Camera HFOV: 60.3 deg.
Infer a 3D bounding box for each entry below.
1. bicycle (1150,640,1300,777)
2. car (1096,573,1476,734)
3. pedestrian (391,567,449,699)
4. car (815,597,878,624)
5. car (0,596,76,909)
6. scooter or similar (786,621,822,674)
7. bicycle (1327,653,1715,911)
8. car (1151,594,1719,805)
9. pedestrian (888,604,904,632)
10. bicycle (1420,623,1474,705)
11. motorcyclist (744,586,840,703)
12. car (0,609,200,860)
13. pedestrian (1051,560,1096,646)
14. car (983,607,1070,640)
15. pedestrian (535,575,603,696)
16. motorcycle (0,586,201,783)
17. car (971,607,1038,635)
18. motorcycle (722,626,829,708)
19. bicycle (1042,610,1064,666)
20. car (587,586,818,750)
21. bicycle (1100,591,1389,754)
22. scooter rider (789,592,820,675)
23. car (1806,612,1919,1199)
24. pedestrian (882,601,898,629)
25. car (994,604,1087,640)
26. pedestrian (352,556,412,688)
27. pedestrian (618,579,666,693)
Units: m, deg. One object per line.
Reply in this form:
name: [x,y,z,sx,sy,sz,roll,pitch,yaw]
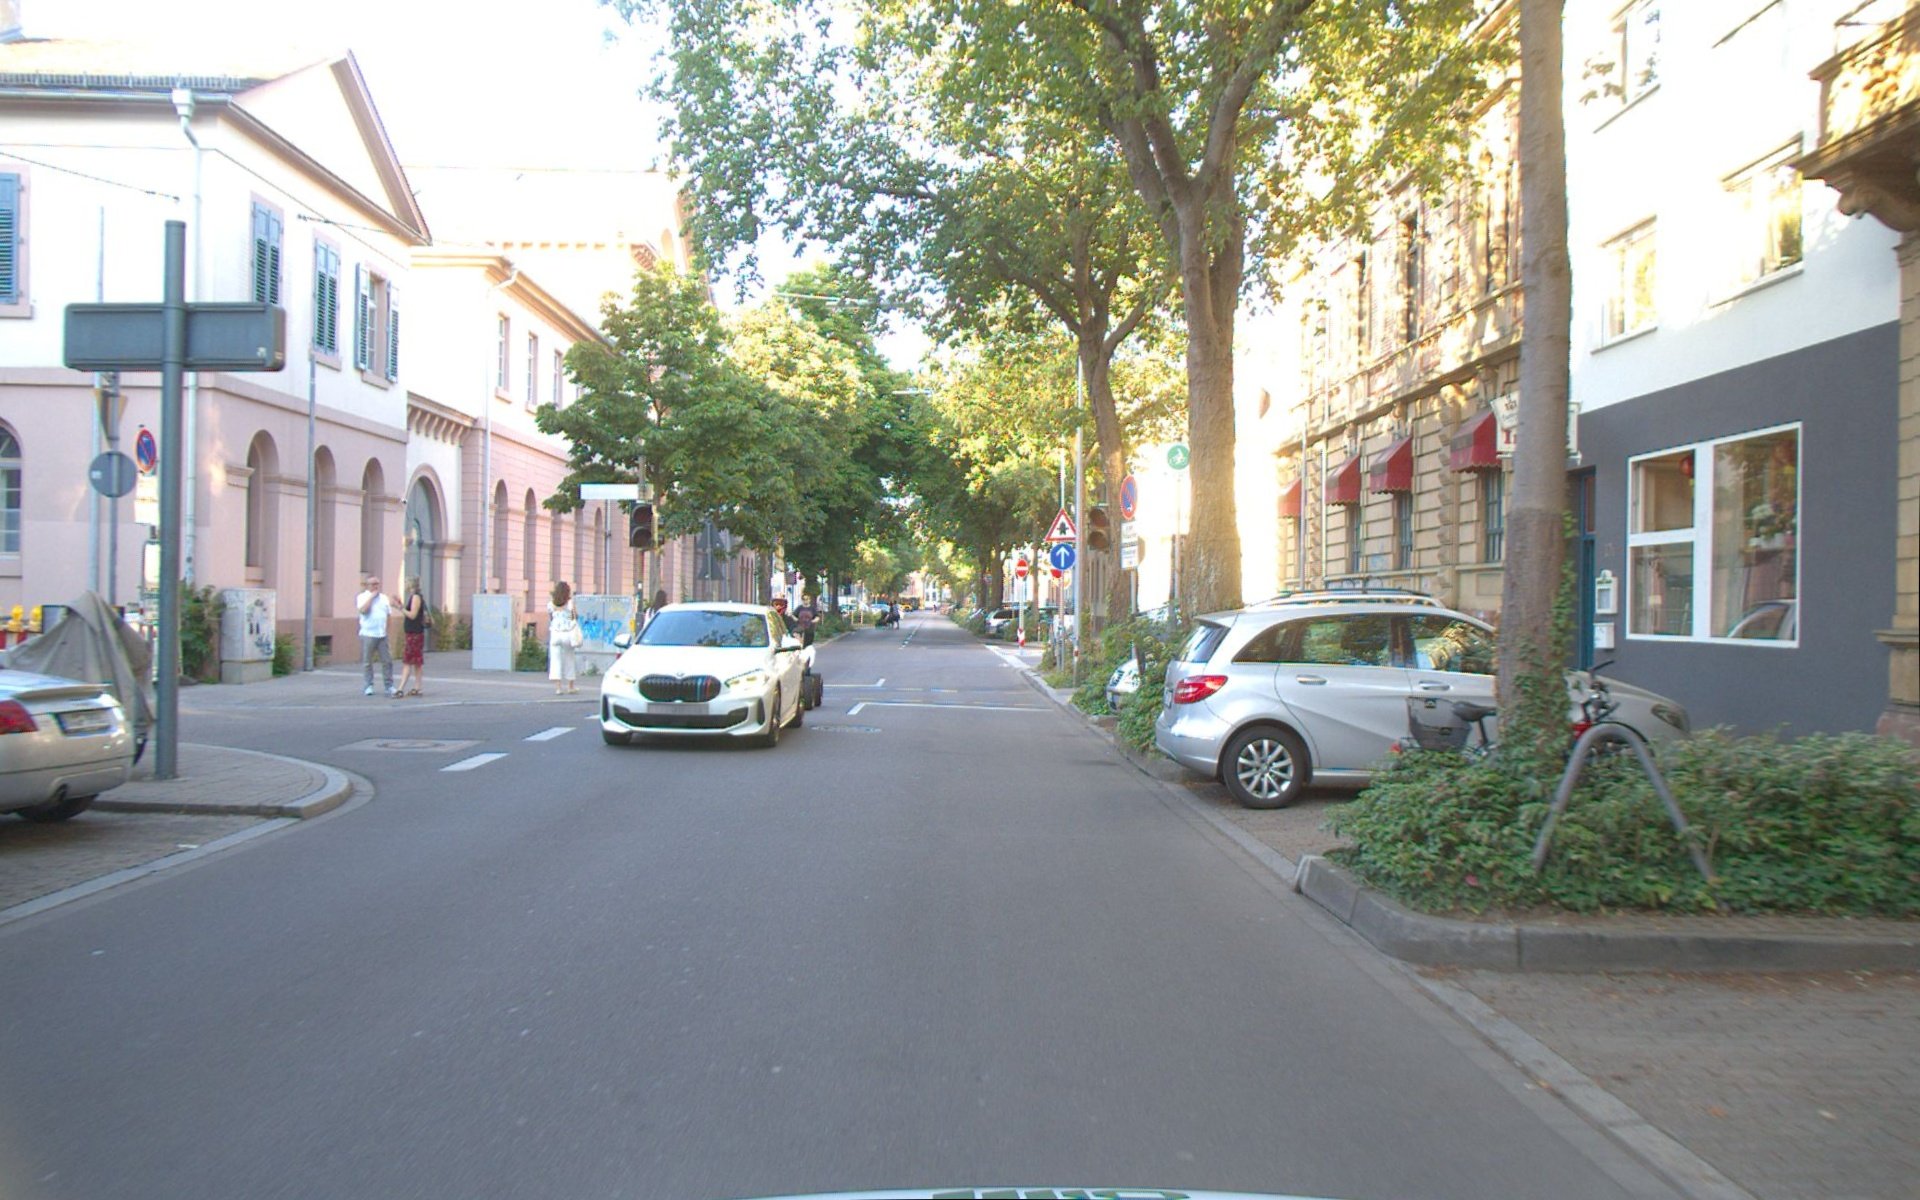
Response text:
bicycle: [2.452,0.996,15.359,1.310,1.225,0.488,0,0,-2]
car: [4.078,0.647,21.174,4.450,1.948,1.949,0,0,-3]
pedestrian: [-7.829,0.467,23.993,0.542,1.882,0.612,1,1,13]
car: [-9.112,0.851,133.408,4.961,2.119,2.262,0,0,-2]
car: [-6.387,0.650,7.566,3.666,1.484,1.734,3,0,-2]
scooter or similar: [-3.471,1.057,36.856,0.491,1.165,1.251,0,-1,9]
bicycle: [2.978,0.930,8.786,1.985,1.225,0.487,-1,0,-14]
car: [3.712,0.750,13.554,4.136,1.587,1.971,0,0,2]
pedestrian: [-3.941,1.117,101.525,0.856,1.679,0.655,1,0,6]
bicycle: [7.664,0.981,26.071,0.377,1.232,1.725,0,0,1]
motorcyclist: [-2.401,0.626,23.797,1.254,1.620,1.077,1,0,-1]
car: [-7.004,0.701,10.257,3.662,1.334,1.845,3,0,3]
pedestrian: [2.961,0.088,43.271,1.022,2.184,1.063,2,-1,-1]
car: [3.190,1.130,79.737,4.107,1.506,1.852,-1,0,-1]
pedestrian: [-6.139,0.543,26.003,0.774,1.822,0.771,3,0,2]
motorcycle: [-7.142,0.622,12.950,2.103,1.444,0.968,0,-1,21]
car: [2.688,1.270,100.542,3.934,1.651,1.780,0,0,-2]
motorcycle: [-2.629,0.943,23.903,1.285,1.109,2.396,1,-1,-1]
bicycle: [2.377,0.963,42.311,0.407,1.396,1.289,0,0,10]
car: [-2.659,0.659,18.049,1.838,1.576,4.275,0,0,0]
bicycle: [3.133,0.793,18.291,3.052,1.692,0.658,2,0,-5]
scooter rider: [-3.465,0.738,36.880,0.484,1.823,0.875,0,-1,9]
car: [4.416,0.778,3.288,4.489,1.462,1.925,0,0,1]
pedestrian: [-4.249,0.932,100.755,0.856,1.679,0.655,1,0,6]
car: [3.608,0.968,74.657,4.025,1.516,1.849,1,1,-2]
pedestrian: [-8.436,0.319,24.146,0.542,1.883,0.612,1,0,13]
pedestrian: [-5.458,0.615,28.377,0.755,1.921,0.790,1,0,-13]
